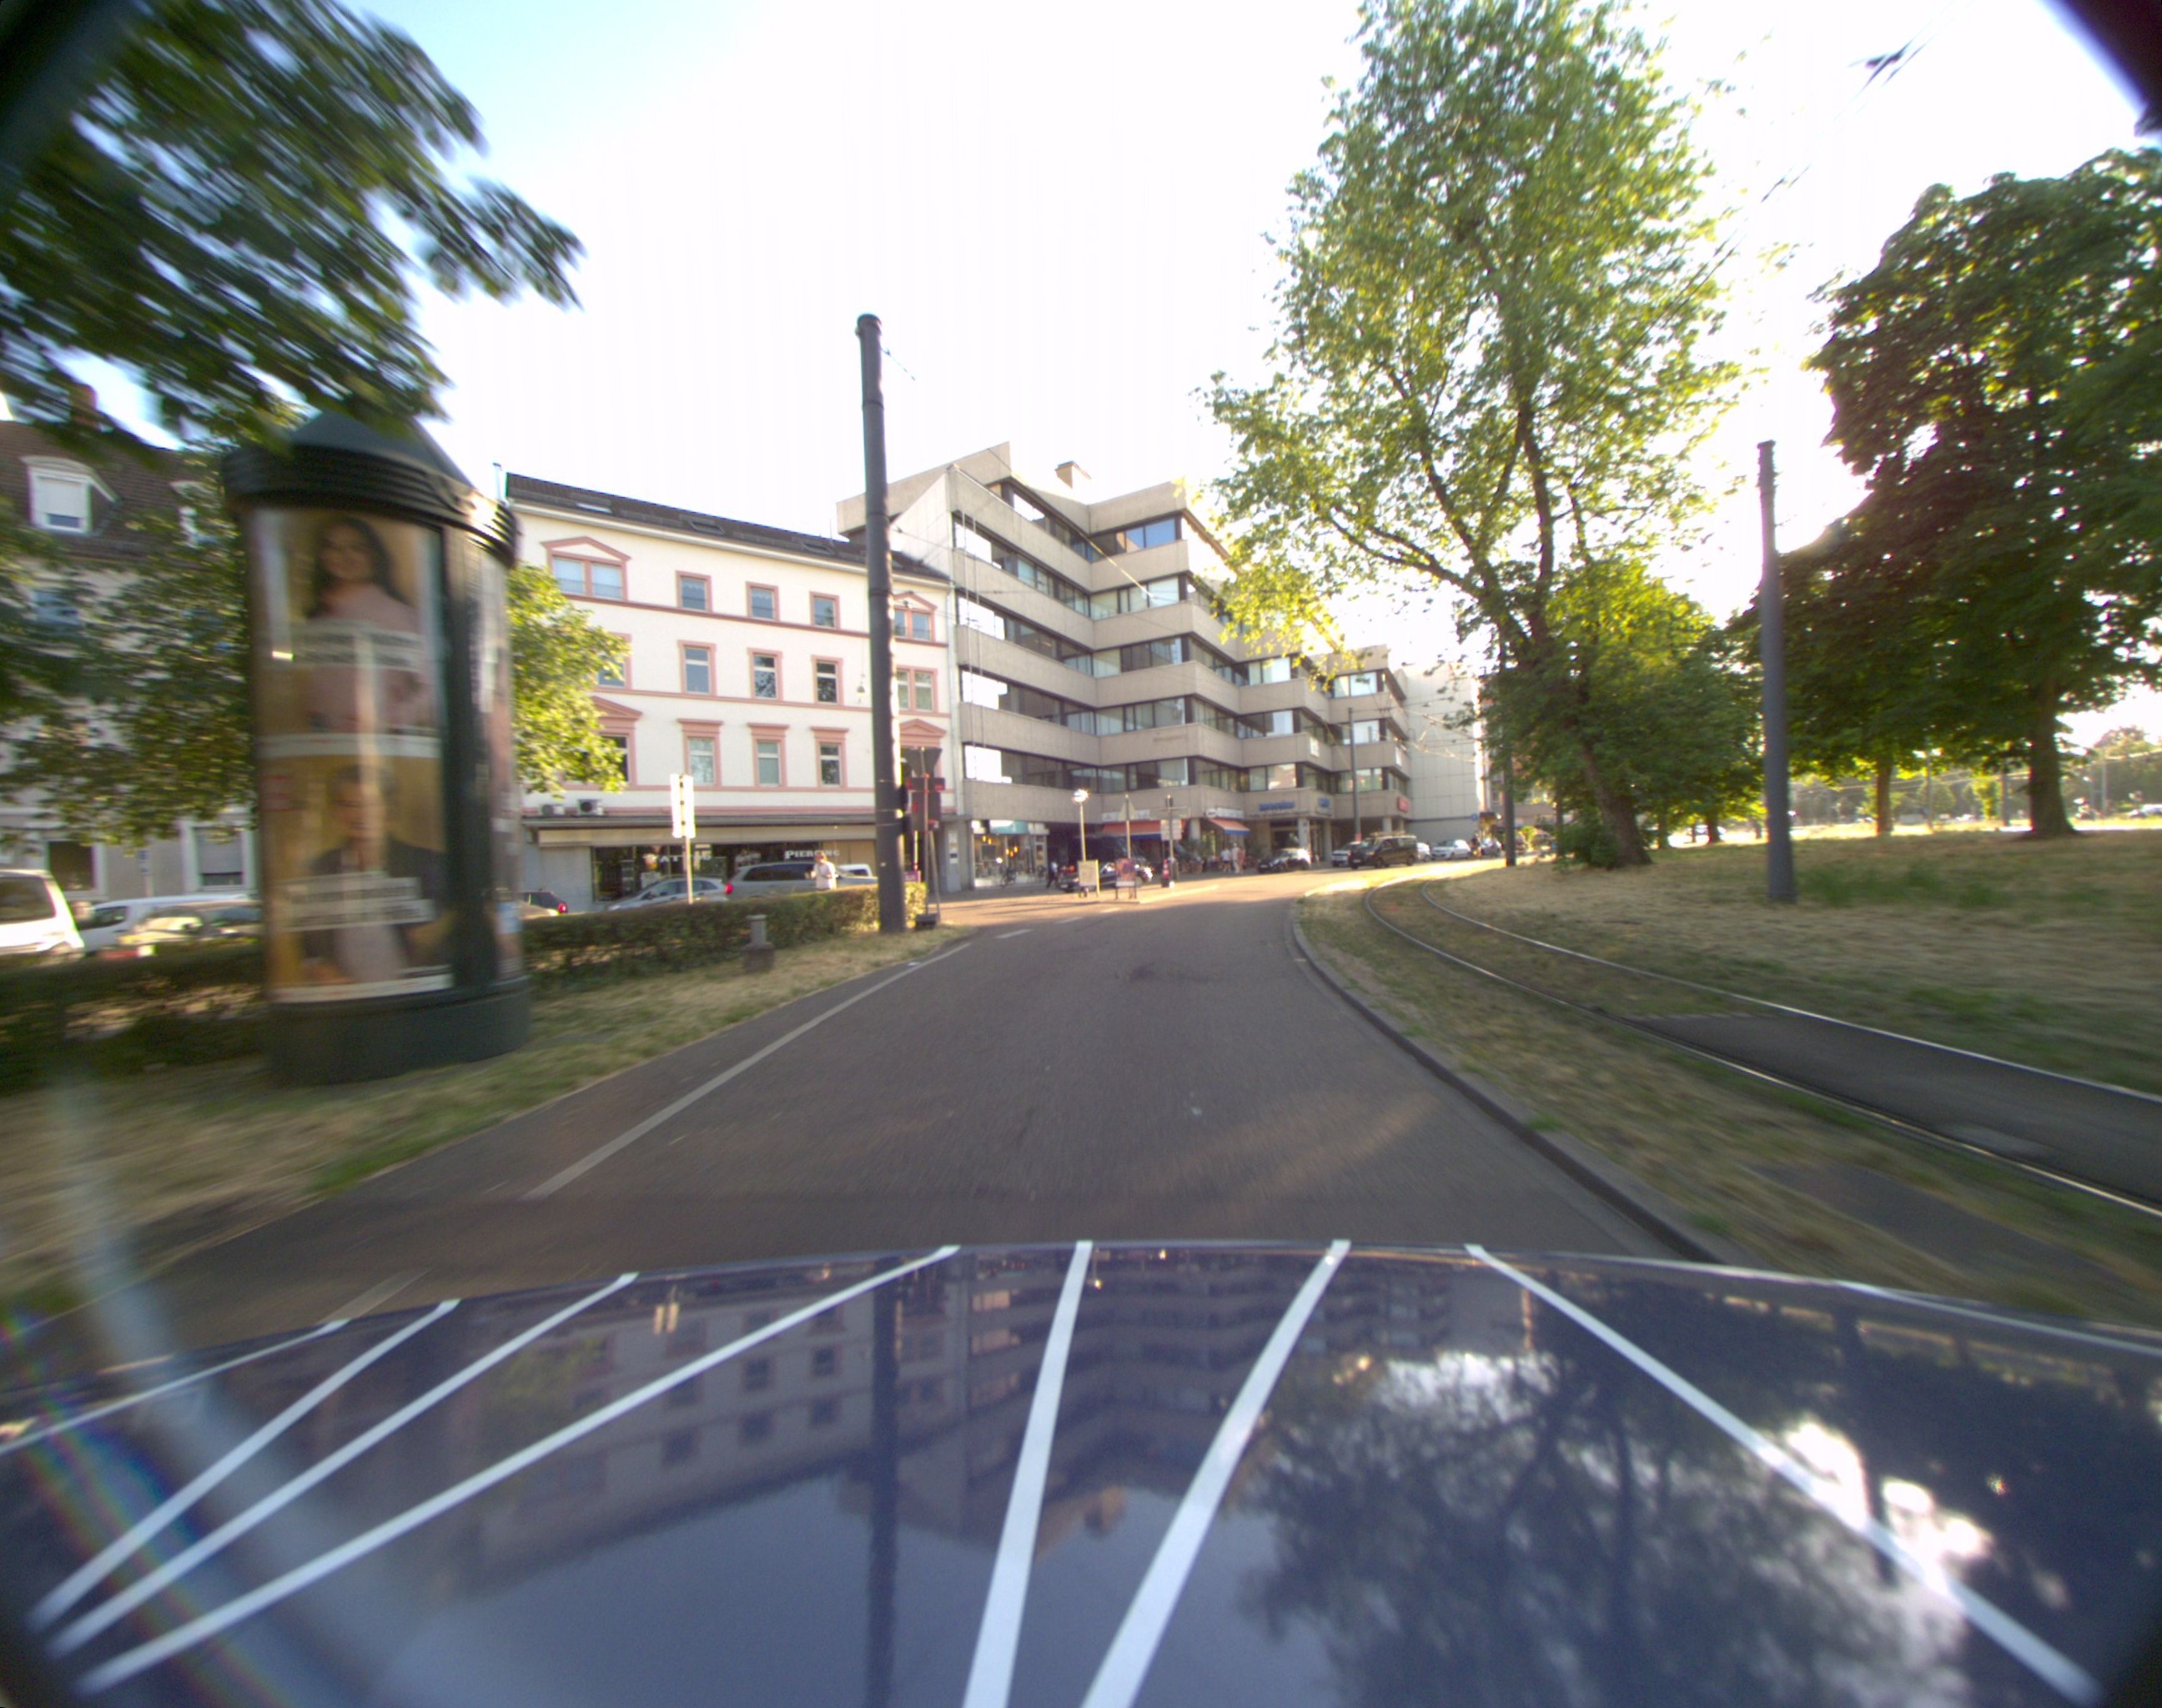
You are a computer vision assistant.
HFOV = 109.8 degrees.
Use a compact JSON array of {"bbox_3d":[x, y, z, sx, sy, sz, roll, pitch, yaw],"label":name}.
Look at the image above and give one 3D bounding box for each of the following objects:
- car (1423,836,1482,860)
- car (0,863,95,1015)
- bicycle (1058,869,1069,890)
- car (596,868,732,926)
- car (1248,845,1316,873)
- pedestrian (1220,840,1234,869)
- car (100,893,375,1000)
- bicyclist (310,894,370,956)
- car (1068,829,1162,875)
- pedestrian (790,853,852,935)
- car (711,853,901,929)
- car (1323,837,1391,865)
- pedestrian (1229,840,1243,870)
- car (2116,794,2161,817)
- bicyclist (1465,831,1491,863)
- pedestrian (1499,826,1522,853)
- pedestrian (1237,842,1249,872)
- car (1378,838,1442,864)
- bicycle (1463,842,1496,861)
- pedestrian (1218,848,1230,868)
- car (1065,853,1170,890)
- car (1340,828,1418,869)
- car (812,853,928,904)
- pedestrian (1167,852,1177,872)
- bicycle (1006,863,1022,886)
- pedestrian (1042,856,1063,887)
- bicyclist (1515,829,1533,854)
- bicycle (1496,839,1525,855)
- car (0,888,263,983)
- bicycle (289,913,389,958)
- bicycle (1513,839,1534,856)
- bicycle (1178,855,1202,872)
[{"bbox_3d":[28.908,-0.464,59.057,4.530,1.596,1.995,-4,0,-33],"label":"car"},{"bbox_3d":[-18.401,1.436,12.225,4.870,2.227,2.098,-4,1,27],"label":"car"},{"bbox_3d":[-0.856,1.233,37.615,0.302,0.987,1.293,-4,0,-9],"label":"bicycle"},{"bbox_3d":[-15.005,1.471,27.390,4.006,1.631,1.994,-4,4,-36],"label":"car"},{"bbox_3d":[12.504,0.302,47.146,4.006,1.433,1.791,-4,0,-34],"label":"car"},{"bbox_3d":[9.261,0.027,48.221,0.619,1.828,0.537,4,4,44],"label":"pedestrian"},{"bbox_3d":[-15.414,1.668,13.915,3.992,1.595,1.955,-4,0,21],"label":"car"},{"bbox_3d":[-20.582,1.947,21.114,1.012,1.605,0.720,-4,1,-36],"label":"bicyclist"},{"bbox_3d":[2.117,-0.128,48.013,5.420,2.712,2.185,-1,2,28],"label":"car"},{"bbox_3d":[-5.744,0.869,16.825,0.725,1.720,0.979,-4,1,22],"label":"pedestrian"},{"bbox_3d":[-7.765,1.006,21.904,4.709,1.761,1.999,-4,0,-7],"label":"car"},{"bbox_3d":[18.928,-0.185,52.087,4.530,1.596,1.995,-4,0,-33],"label":"car"},{"bbox_3d":[9.729,0.043,47.607,0.572,1.828,0.605,4,4,42],"label":"pedestrian"},{"bbox_3d":[99.413,-4.544,70.723,1.995,2.002,4.006,-4,0,28],"label":"car"},{"bbox_3d":[25.834,-0.470,49.444,1.115,1.962,0.922,-4,1,-33],"label":"bicyclist"},{"bbox_3d":[32.775,-1.108,57.959,1.275,1.961,0.934,-4,1,-33],"label":"pedestrian"},{"bbox_3d":[10.005,0.188,47.012,0.532,1.828,0.501,3,4,40],"label":"pedestrian"},{"bbox_3d":[24.037,-0.251,55.435,4.530,1.596,1.995,-4,0,-33],"label":"car"},{"bbox_3d":[25.973,-0.143,49.508,2.224,1.070,0.934,-4,1,-33],"label":"bicycle"},{"bbox_3d":[9.851,0.262,52.340,0.610,1.313,0.592,-2,1,22],"label":"pedestrian"},{"bbox_3d":[1.731,0.812,35.766,4.530,1.386,1.995,-4,0,-33],"label":"car"},{"bbox_3d":[18.150,-0.343,46.227,4.530,2.143,1.995,-4,1,-33],"label":"car"},{"bbox_3d":[-8.847,0.958,32.025,4.236,1.774,1.927,-4,2,-36],"label":"car"},{"bbox_3d":[5.789,0.506,48.439,0.460,1.188,0.421,3,4,31],"label":"pedestrian"},{"bbox_3d":[-3.548,1.075,40.218,0.487,1.185,1.427,-4,0,7],"label":"bicycle"},{"bbox_3d":[-1.453,0.911,38.898,0.794,1.528,0.568,-4,3,-32],"label":"pedestrian"},{"bbox_3d":[32.089,-0.921,55.012,0.859,1.773,0.988,-2,2,43],"label":"bicyclist"},{"bbox_3d":[32.776,-0.536,57.937,2.224,1.070,0.955,-4,1,-33],"label":"bicycle"},{"bbox_3d":[-24.982,2.055,20.167,4.006,1.875,1.947,-4,3,-35],"label":"car"},{"bbox_3d":[-20.564,2.235,21.110,1.837,1.006,0.731,-4,1,-36],"label":"bicycle"},{"bbox_3d":[32.012,-0.450,54.956,0.872,1.090,1.853,-3,1,43],"label":"bicycle"},{"bbox_3d":[6.875,0.610,47.774,1.445,0.987,0.531,-1,3,4],"label":"bicycle"}]
